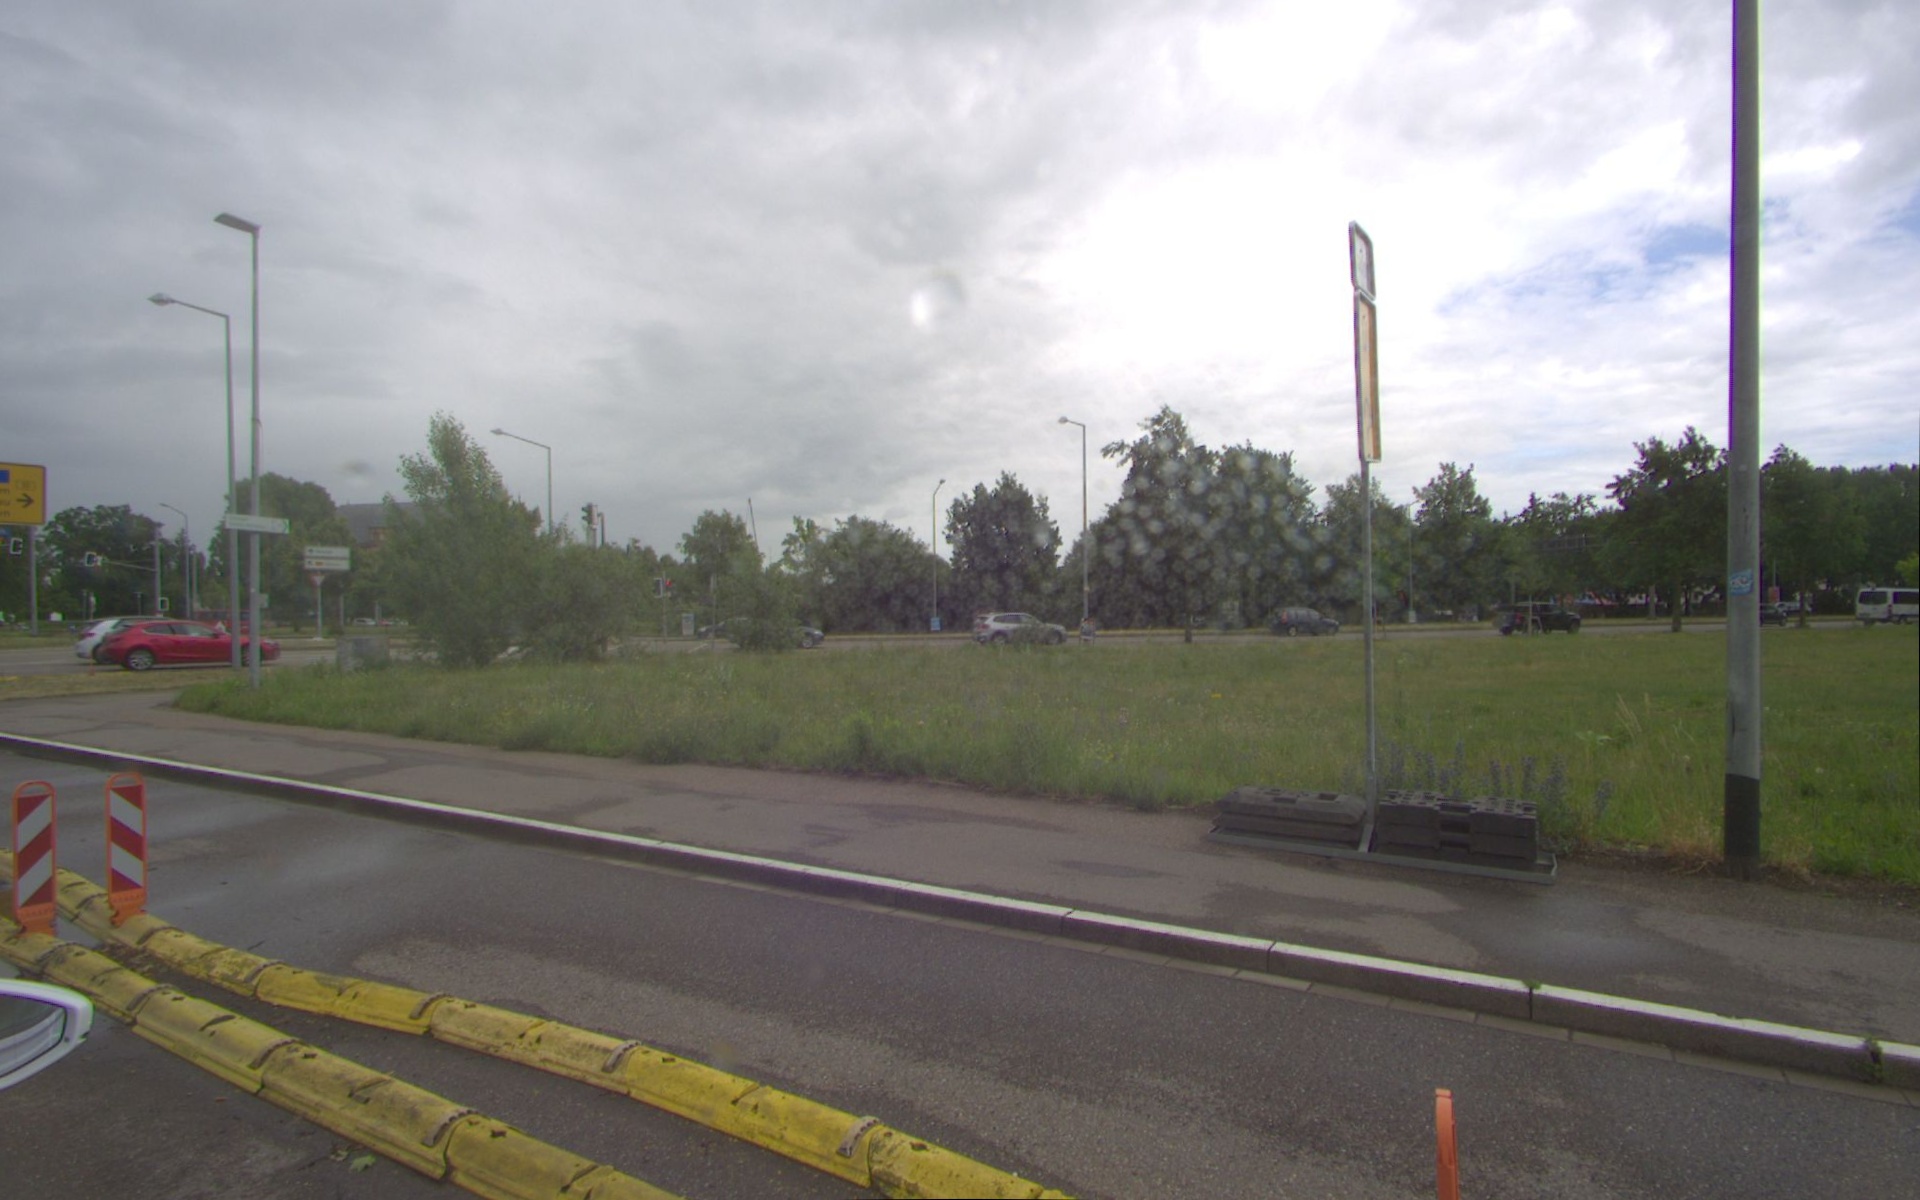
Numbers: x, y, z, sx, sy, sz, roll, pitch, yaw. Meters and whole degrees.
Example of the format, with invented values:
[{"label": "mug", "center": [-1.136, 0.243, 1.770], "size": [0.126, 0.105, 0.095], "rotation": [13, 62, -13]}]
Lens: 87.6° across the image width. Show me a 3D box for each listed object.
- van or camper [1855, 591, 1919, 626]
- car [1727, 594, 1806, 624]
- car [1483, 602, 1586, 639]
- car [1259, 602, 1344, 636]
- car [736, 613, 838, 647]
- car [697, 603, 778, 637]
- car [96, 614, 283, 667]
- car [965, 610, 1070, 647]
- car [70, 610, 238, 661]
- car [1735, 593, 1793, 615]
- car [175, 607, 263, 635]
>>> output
[{"label": "van or camper", "center": [58.687, 0.520, 62.224], "size": [5.453, 2.143, 1.997], "rotation": [0, 0, -16]}, {"label": "car", "center": [51.669, 0.567, 64.196], "size": [3.927, 1.873, 1.997], "rotation": [0, 0, -14]}, {"label": "car", "center": [32.322, 1.137, 56.361], "size": [4.953, 1.998, 2.219], "rotation": [0, 0, -17]}, {"label": "car", "center": [19.466, 1.078, 57.174], "size": [4.131, 1.837, 2.075], "rotation": [0, 0, -13]}, {"label": "car", "center": [-7.912, 1.348, 45.836], "size": [4.254, 1.483, 1.992], "rotation": [0, 0, -25]}, {"label": "car", "center": [-13.800, 1.255, 62.315], "size": [4.849, 2.040, 1.998], "rotation": [0, 0, -12]}, {"label": "car", "center": [-23.675, 1.185, 30.873], "size": [1.978, 1.483, 4.319], "rotation": [0, 0, 43]}, {"label": "car", "center": [2.634, 1.272, 46.059], "size": [4.453, 1.604, 1.996], "rotation": [0, 0, -18]}, {"label": "car", "center": [-26.126, 1.107, 32.530], "size": [1.977, 1.528, 3.968], "rotation": [0, 0, 40]}, {"label": "car", "center": [68.899, 0.313, 85.814], "size": [3.925, 1.863, 1.778], "rotation": [0, 0, -10]}, {"label": "car", "center": [-51.310, 1.449, 69.387], "size": [4.796, 1.943, 2.115], "rotation": [0, 0, 7]}]
